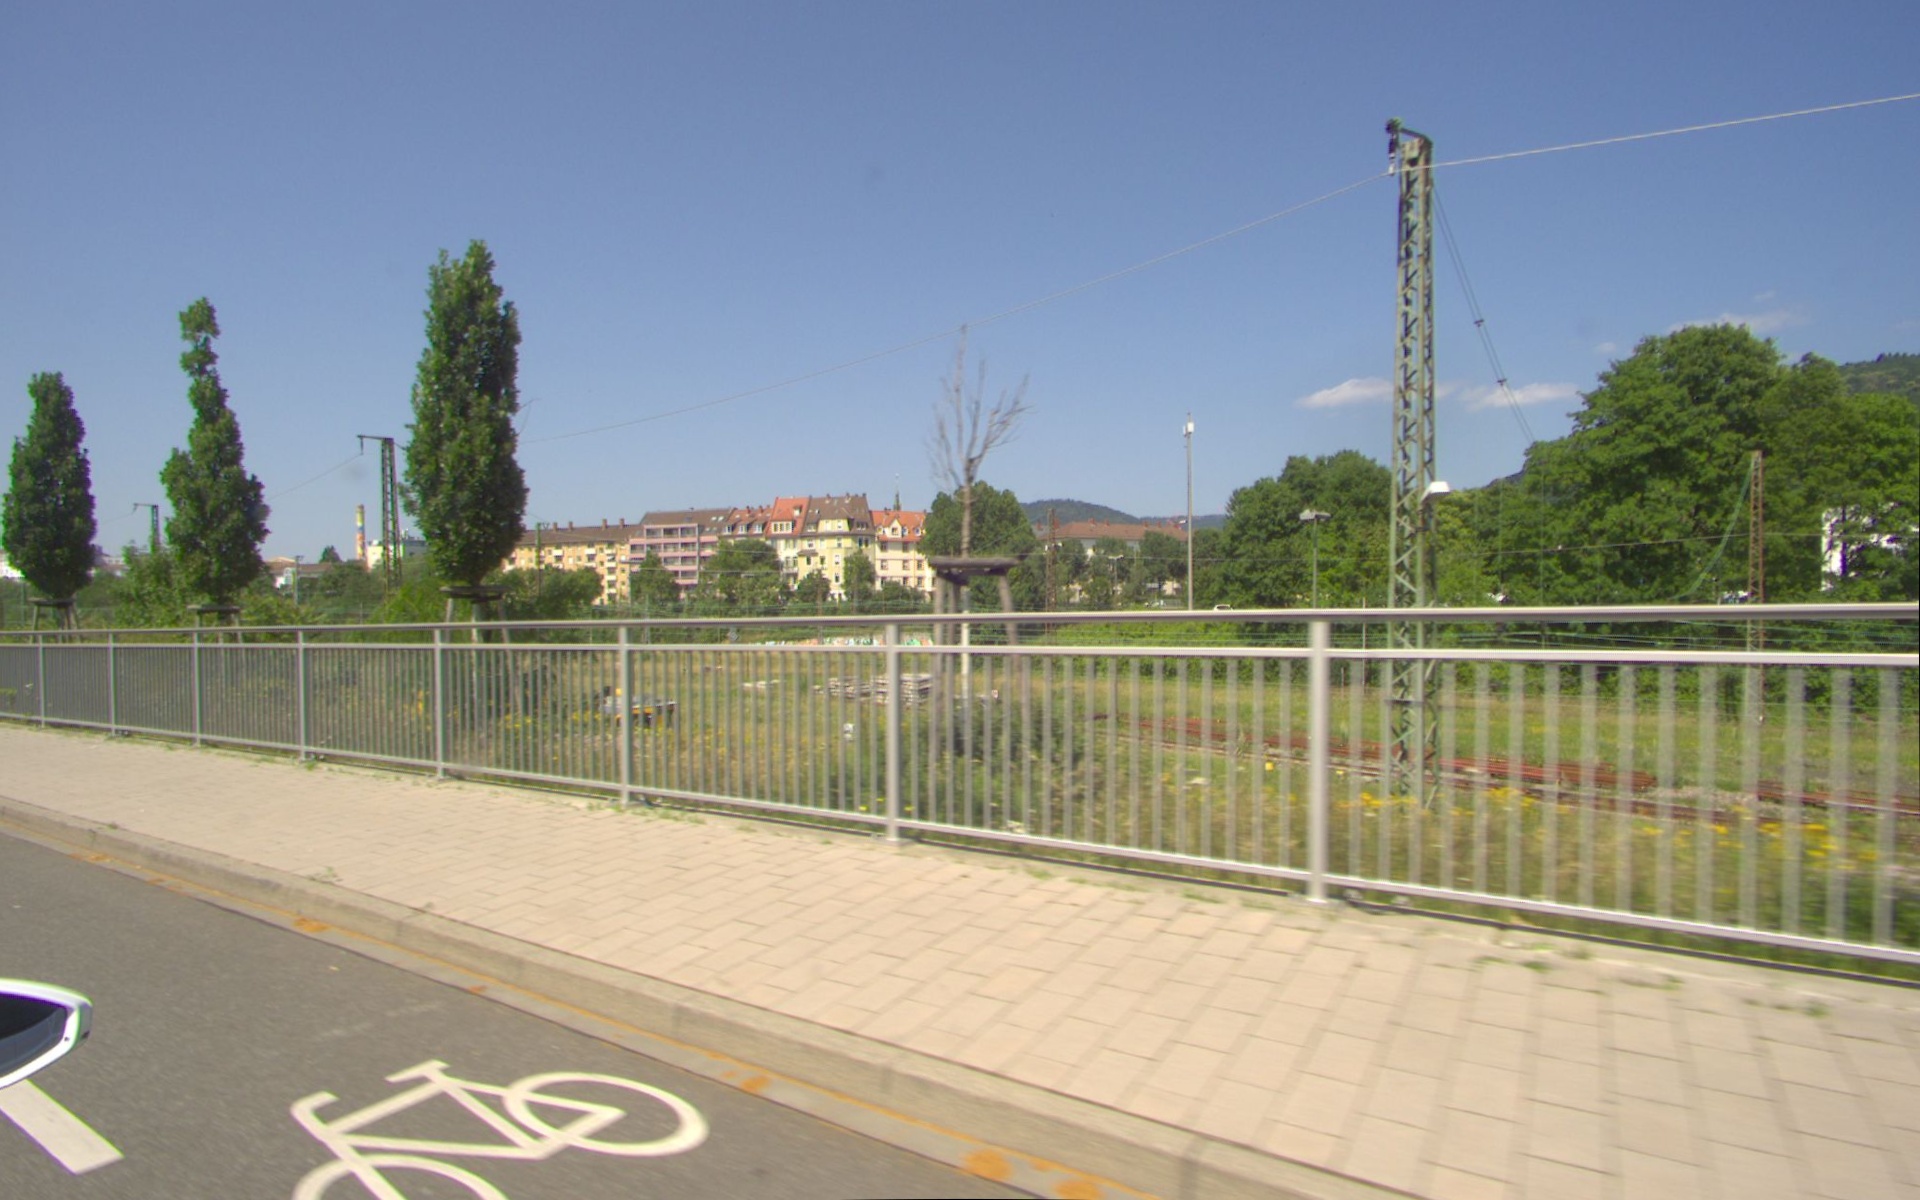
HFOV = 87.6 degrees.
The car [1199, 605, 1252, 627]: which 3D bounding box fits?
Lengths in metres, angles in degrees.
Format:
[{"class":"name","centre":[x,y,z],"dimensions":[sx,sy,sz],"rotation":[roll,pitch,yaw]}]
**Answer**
[{"class":"car","centre":[27.429,1.637,103.500],"dimensions":[4.930,2.141,1.985],"rotation":[-1,0,39]}]
